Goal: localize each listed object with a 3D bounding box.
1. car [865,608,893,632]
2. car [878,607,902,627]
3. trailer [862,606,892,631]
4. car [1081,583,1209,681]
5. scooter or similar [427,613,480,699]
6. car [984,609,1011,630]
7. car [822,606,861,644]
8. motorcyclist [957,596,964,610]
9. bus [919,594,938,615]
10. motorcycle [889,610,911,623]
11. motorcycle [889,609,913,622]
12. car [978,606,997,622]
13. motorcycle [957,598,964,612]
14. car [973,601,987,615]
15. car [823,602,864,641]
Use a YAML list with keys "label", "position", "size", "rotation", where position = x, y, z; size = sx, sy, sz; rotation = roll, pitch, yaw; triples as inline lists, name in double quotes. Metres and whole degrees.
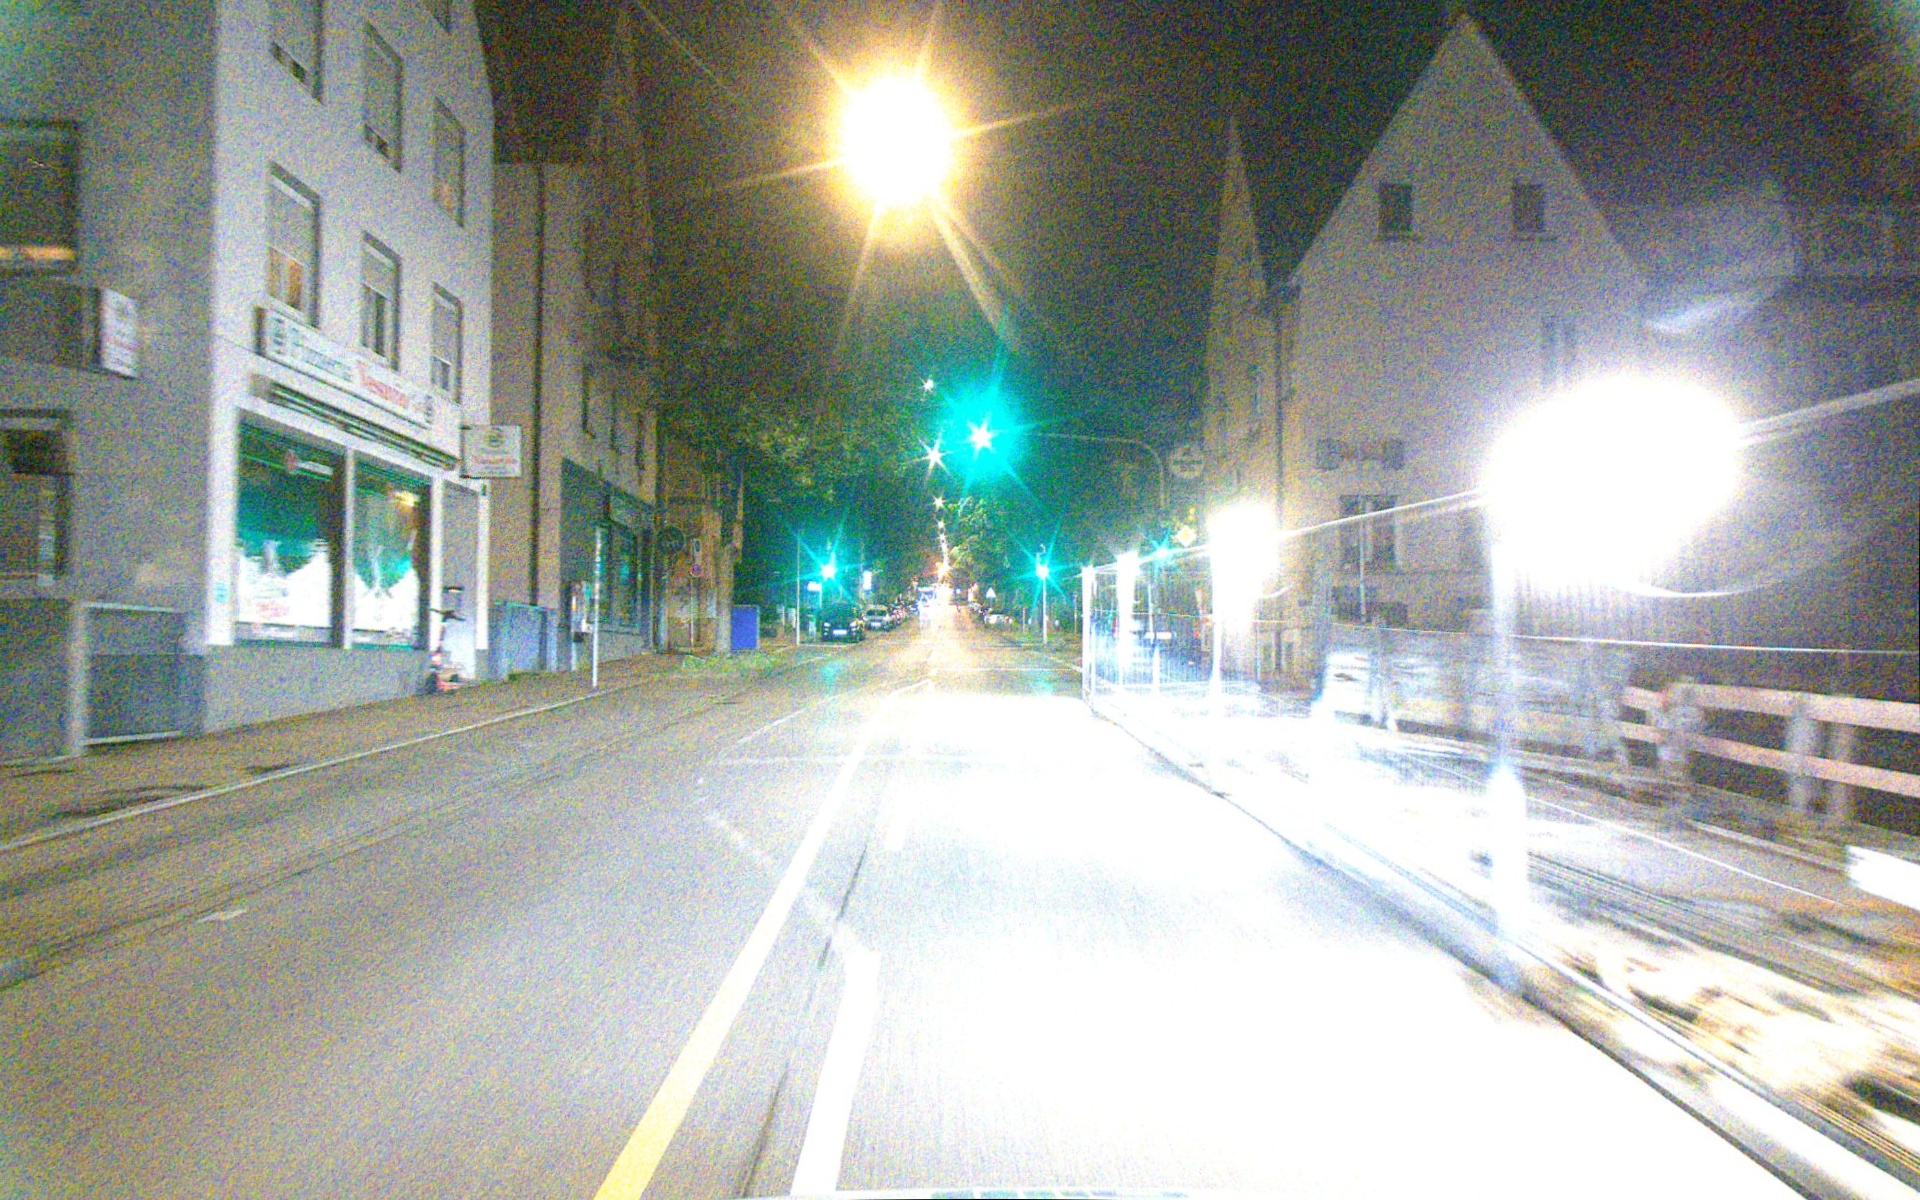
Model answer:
- label: "car"
  position: [-5.292, 1.317, 108.365]
  size: [1.778, 1.510, 4.346]
  rotation: [1, 0, -2]
- label: "car"
  position: [-5.621, 1.379, 132.605]
  size: [1.826, 1.518, 4.279]
  rotation: [1, -1, -1]
- label: "trailer"
  position: [-5.651, 1.286, 112.897]
  size: [1.603, 1.668, 3.440]
  rotation: [1, -1, 4]
- label: "car"
  position: [3.718, 0.626, 34.017]
  size: [1.873, 1.859, 4.897]
  rotation: [0, 0, -3]
- label: "scooter or similar"
  position: [-7.616, 0.831, 24.919]
  size: [0.324, 1.247, 1.335]
  rotation: [1, -1, 1]
- label: "car"
  position: [2.735, 1.410, 121.736]
  size: [1.808, 1.442, 4.644]
  rotation: [-3, -1, -1]
- label: "car"
  position: [-5.036, 1.064, 70.463]
  size: [1.615, 1.541, 3.699]
  rotation: [1, -1, -4]
- label: "motorcyclist"
  position: [0.032, 0.389, 209.947]
  size: [0.831, 1.783, 0.805]
  rotation: [1, -1, 0]
- label: "bus"
  position: [-4.954, 0.734, 262.836]
  size: [2.779, 3.233, 10.497]
  rotation: [1, 0, 0]
- label: "motorcycle"
  position: [-5.406, 1.486, 149.147]
  size: [0.710, 1.167, 2.174]
  rotation: [0, 0, -42]
- label: "motorcycle"
  position: [-5.366, 1.449, 151.166]
  size: [2.162, 1.150, 0.714]
  rotation: [0, 0, 33]
- label: "car"
  position: [2.677, 1.330, 160.229]
  size: [1.727, 1.502, 4.080]
  rotation: [-1, 0, 0]
- label: "motorcycle"
  position: [0.031, 0.607, 209.944]
  size: [0.912, 1.783, 2.624]
  rotation: [1, -1, 0]
- label: "car"
  position: [2.511, 1.003, 209.108]
  size: [1.775, 1.622, 4.273]
  rotation: [-1, 0, 0]
- label: "car"
  position: [-5.377, 0.989, 76.480]
  size: [1.812, 1.679, 4.668]
  rotation: [1, 0, -4]
